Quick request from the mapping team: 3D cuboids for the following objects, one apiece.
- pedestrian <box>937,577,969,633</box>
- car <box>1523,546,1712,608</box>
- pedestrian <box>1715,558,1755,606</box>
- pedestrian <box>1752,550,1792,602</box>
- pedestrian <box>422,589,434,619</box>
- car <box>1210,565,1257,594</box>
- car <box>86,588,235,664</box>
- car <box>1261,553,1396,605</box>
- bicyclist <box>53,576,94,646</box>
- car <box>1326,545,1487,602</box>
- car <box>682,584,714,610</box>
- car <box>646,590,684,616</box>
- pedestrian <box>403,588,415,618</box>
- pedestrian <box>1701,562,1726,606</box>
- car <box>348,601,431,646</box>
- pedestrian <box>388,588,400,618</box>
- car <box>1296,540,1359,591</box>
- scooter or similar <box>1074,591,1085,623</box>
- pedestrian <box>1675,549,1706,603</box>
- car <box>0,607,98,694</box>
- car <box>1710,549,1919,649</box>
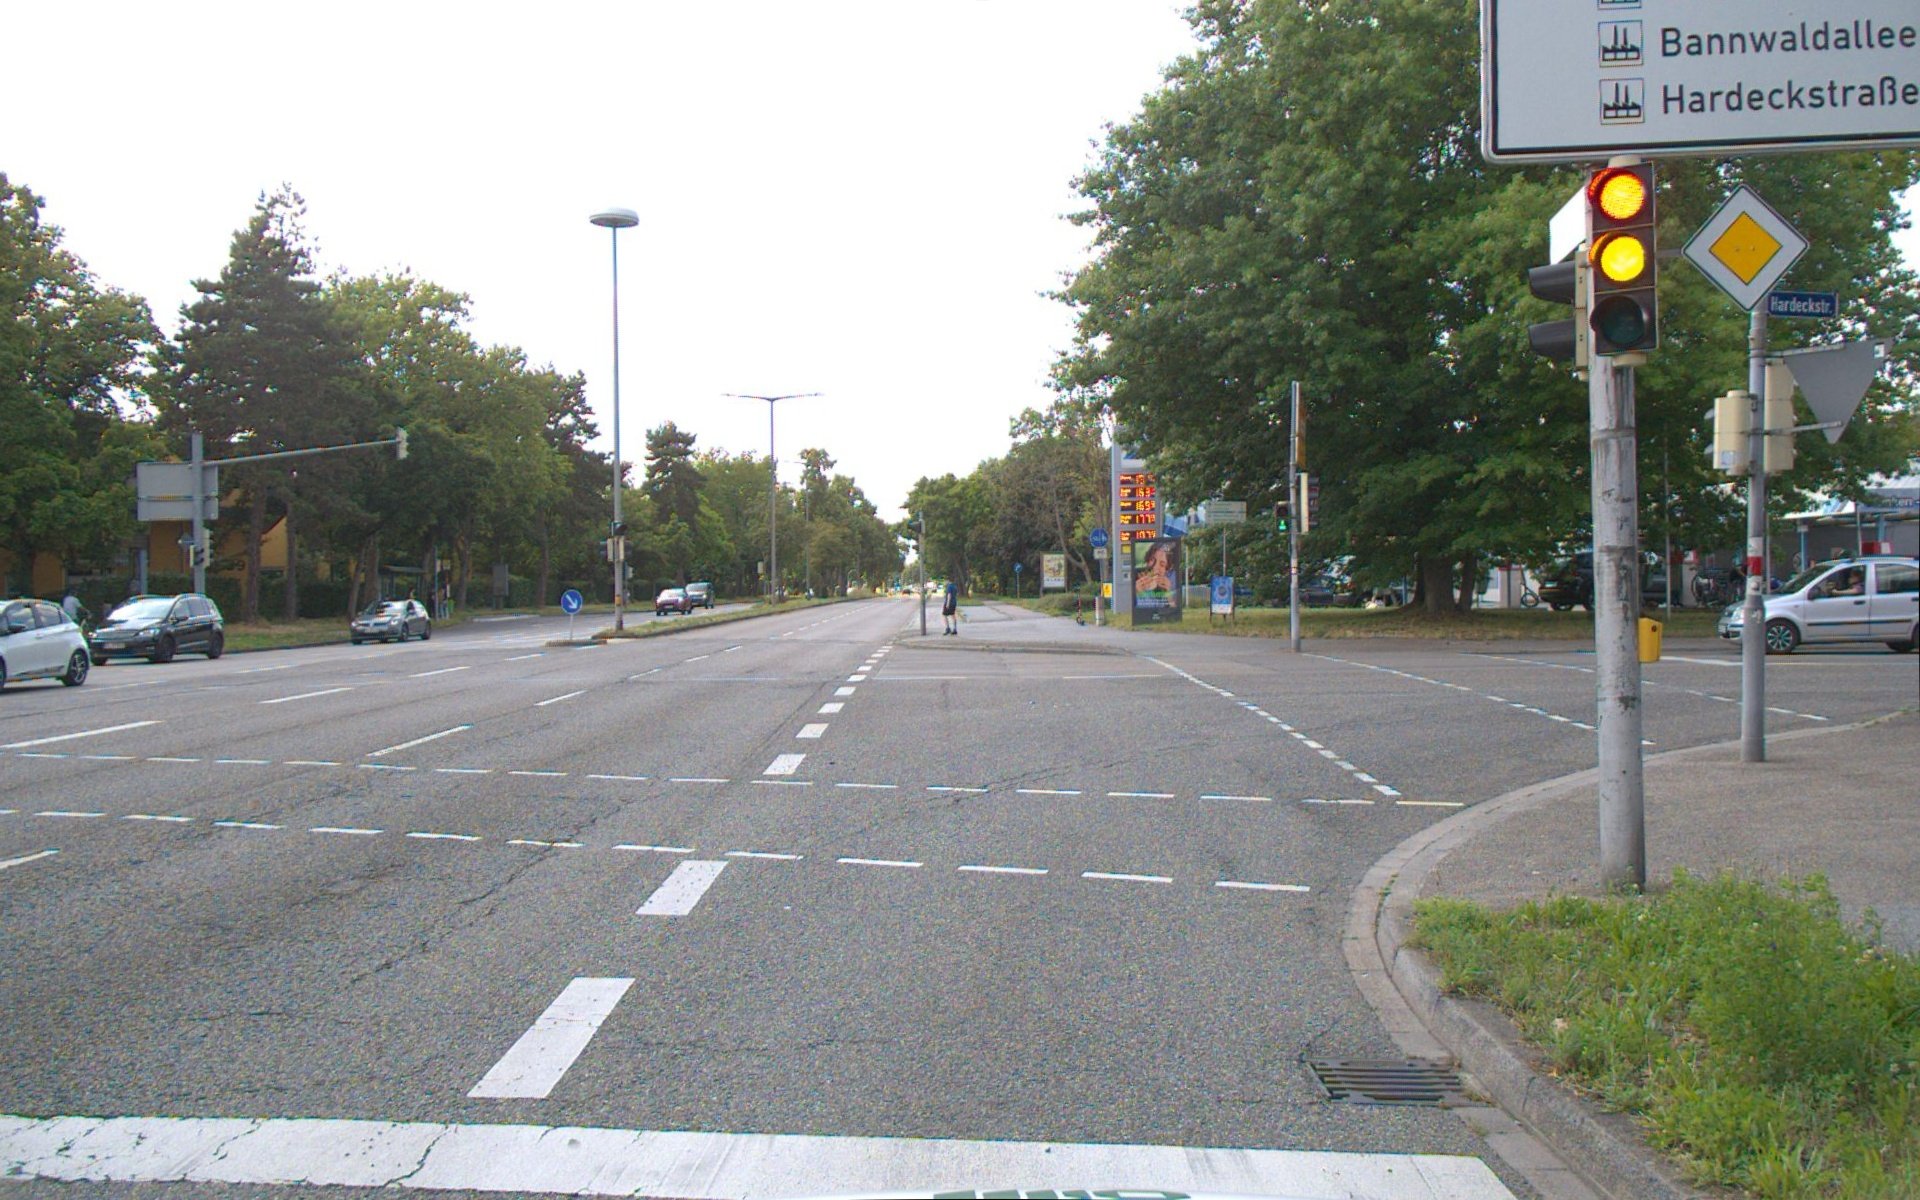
[{"bbox_3d":[-0.203,0.141,47.052,0.713,1.558,0.756,-1,0,-17],"label":"pedestrian"},{"bbox_3d":[18.347,-0.642,46.257,4.469,1.624,2.148,-1,0,-12],"label":"car"},{"bbox_3d":[19.737,-0.449,42.129,0.641,1.210,0.753,1,-1,-45],"label":"pedestrian"},{"bbox_3d":[20.426,-0.593,41.604,0.641,1.277,0.753,1,-1,-45],"label":"pedestrian"},{"bbox_3d":[-26.932,0.193,83.741,0.560,1.522,0.419,1,-1,-16],"label":"pedestrian"},{"bbox_3d":[14.551,-1.101,88.078,1.715,1.479,3.739,-1,0,-2],"label":"car"},{"bbox_3d":[-19.664,0.623,40.882,1.637,1.772,4.309,0,0,-1],"label":"car"},{"bbox_3d":[15.421,-0.890,69.389,5.079,2.039,2.152,-1,0,-5],"label":"car"},{"bbox_3d":[-26.673,0.328,49.773,0.736,2.049,0.831,-1,0,-3],"label":"bicyclist"},{"bbox_3d":[15.748,-0.935,58.461,5.089,1.858,2.148,-1,0,-12],"label":"car"},{"bbox_3d":[-20.036,-0.219,126.550,1.729,1.889,4.816,-1,1,-1],"label":"car"},{"bbox_3d":[-17.514,0.150,98.331,1.736,1.490,4.453,-1,0,-4],"label":"car"},{"bbox_3d":[-28.086,0.175,84.335,0.560,1.522,0.419,1,-1,-16],"label":"pedestrian"},{"bbox_3d":[27.779,-0.586,61.007,0.640,1.571,0.624,-1,0,6],"label":"pedestrian"},{"bbox_3d":[-19.436,0.775,56.506,1.562,1.396,4.079,-1,0,-3],"label":"car"},{"bbox_3d":[-28.800,0.162,84.156,0.560,1.522,0.419,1,-1,-16],"label":"pedestrian"},{"bbox_3d":[18.840,-1.734,85.035,1.715,2.496,5.747,-1,0,-2],"label":"car"},{"bbox_3d":[3.759,0.210,51.960,0.216,0.996,1.272,-1,0,-1],"label":"scooter or similar"},{"bbox_3d":[20.876,-0.668,47.289,0.550,1.521,0.619,1,-1,-8],"label":"pedestrian"},{"bbox_3d":[-15.647,0.816,26.525,1.717,1.331,3.693,-2,0,-1],"label":"car"},{"bbox_3d":[14.284,-0.020,26.907,3.520,1.543,1.560,-1,0,12],"label":"car"}]
